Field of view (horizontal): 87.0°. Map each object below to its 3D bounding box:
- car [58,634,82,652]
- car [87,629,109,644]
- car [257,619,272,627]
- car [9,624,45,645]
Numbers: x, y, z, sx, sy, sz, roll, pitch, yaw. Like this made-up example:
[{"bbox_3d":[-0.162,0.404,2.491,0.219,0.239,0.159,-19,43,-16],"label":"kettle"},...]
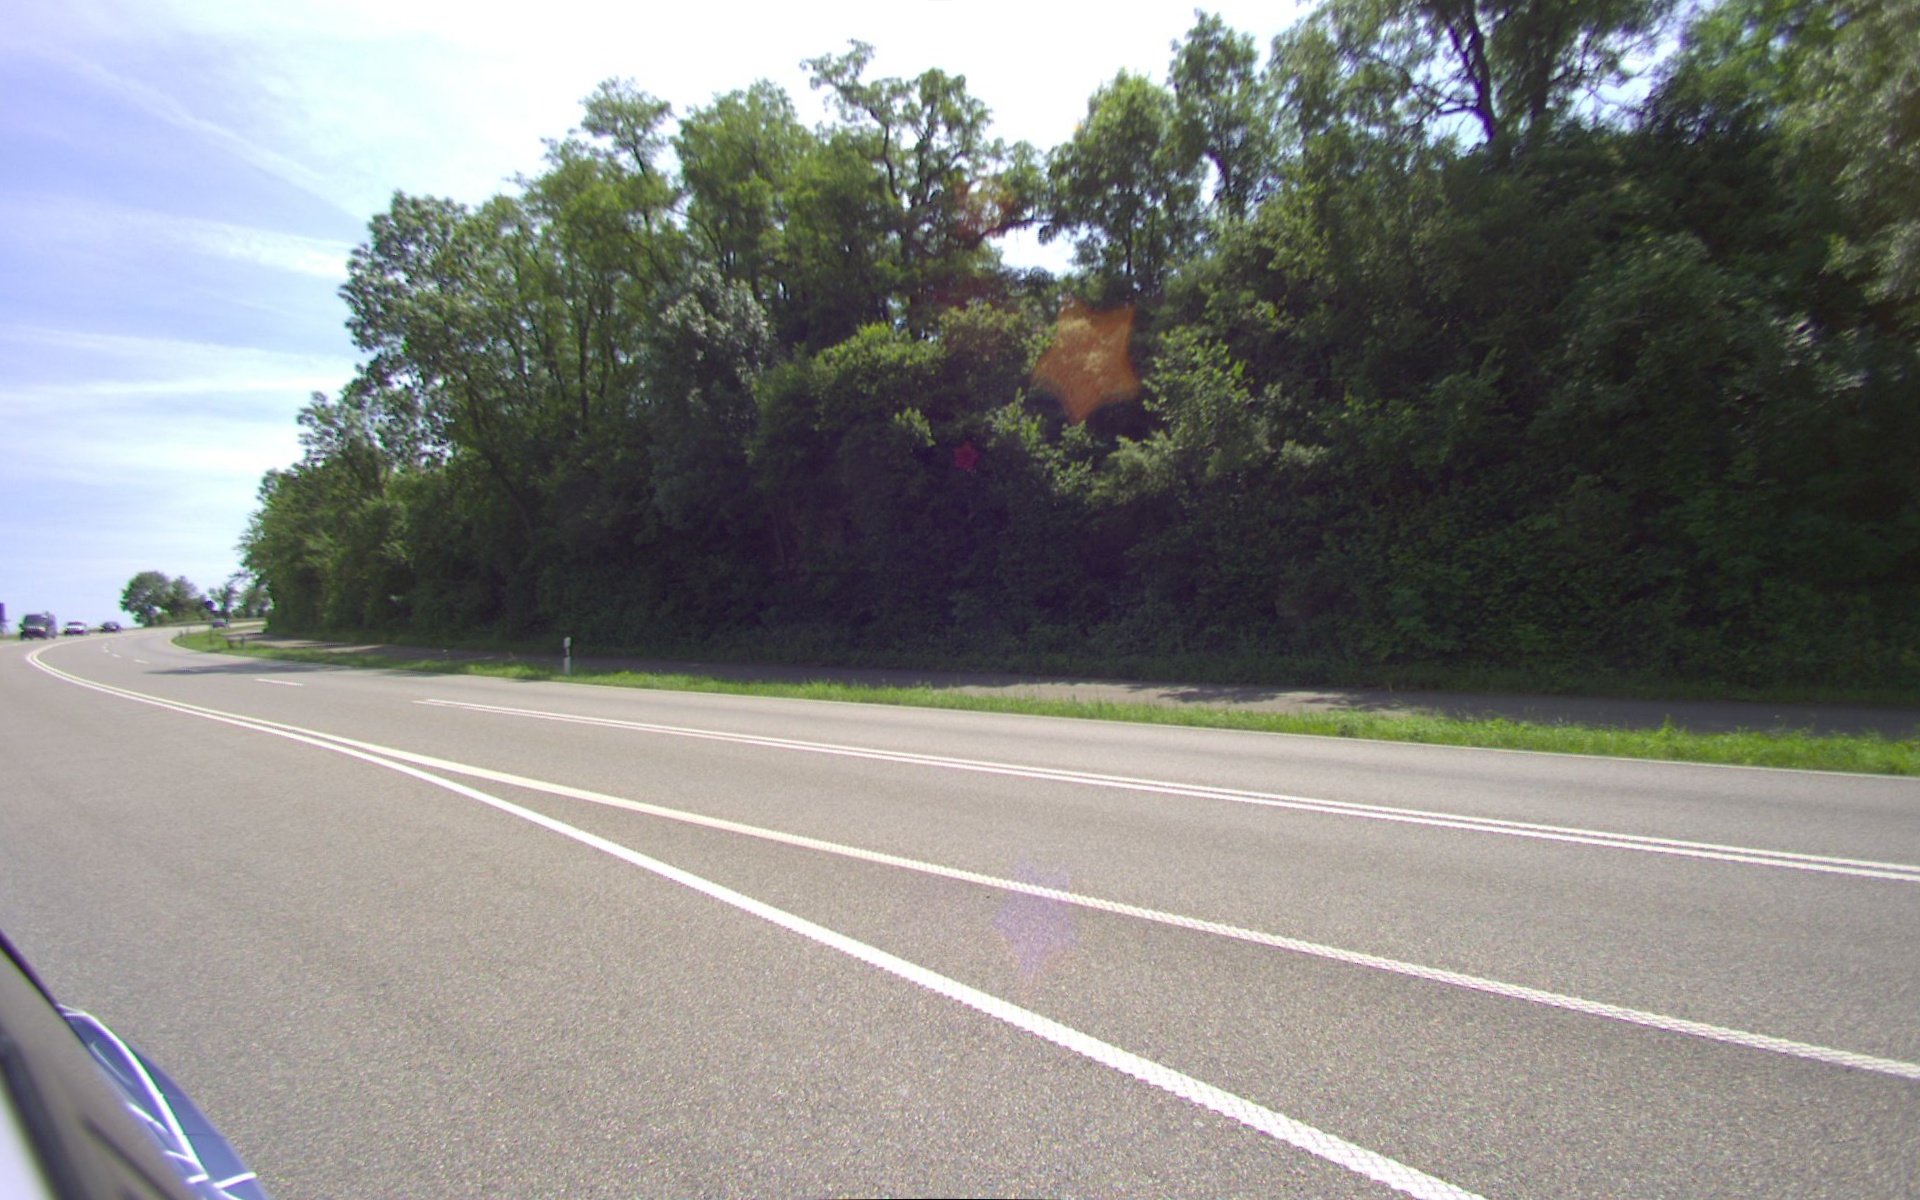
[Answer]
[{"bbox_3d":[-104.725,5.044,119.053,1.823,2.029,3.880,0,0,-37],"label":"car"},{"bbox_3d":[-114.987,4.862,135.000,1.738,1.874,3.820,0,0,-33],"label":"car"},{"bbox_3d":[-141.879,4.697,206.503,1.928,1.741,3.923,-1,-2,-26],"label":"car"},{"bbox_3d":[-91.781,3.368,99.572,1.966,2.029,4.011,-1,-1,-33],"label":"car"}]
